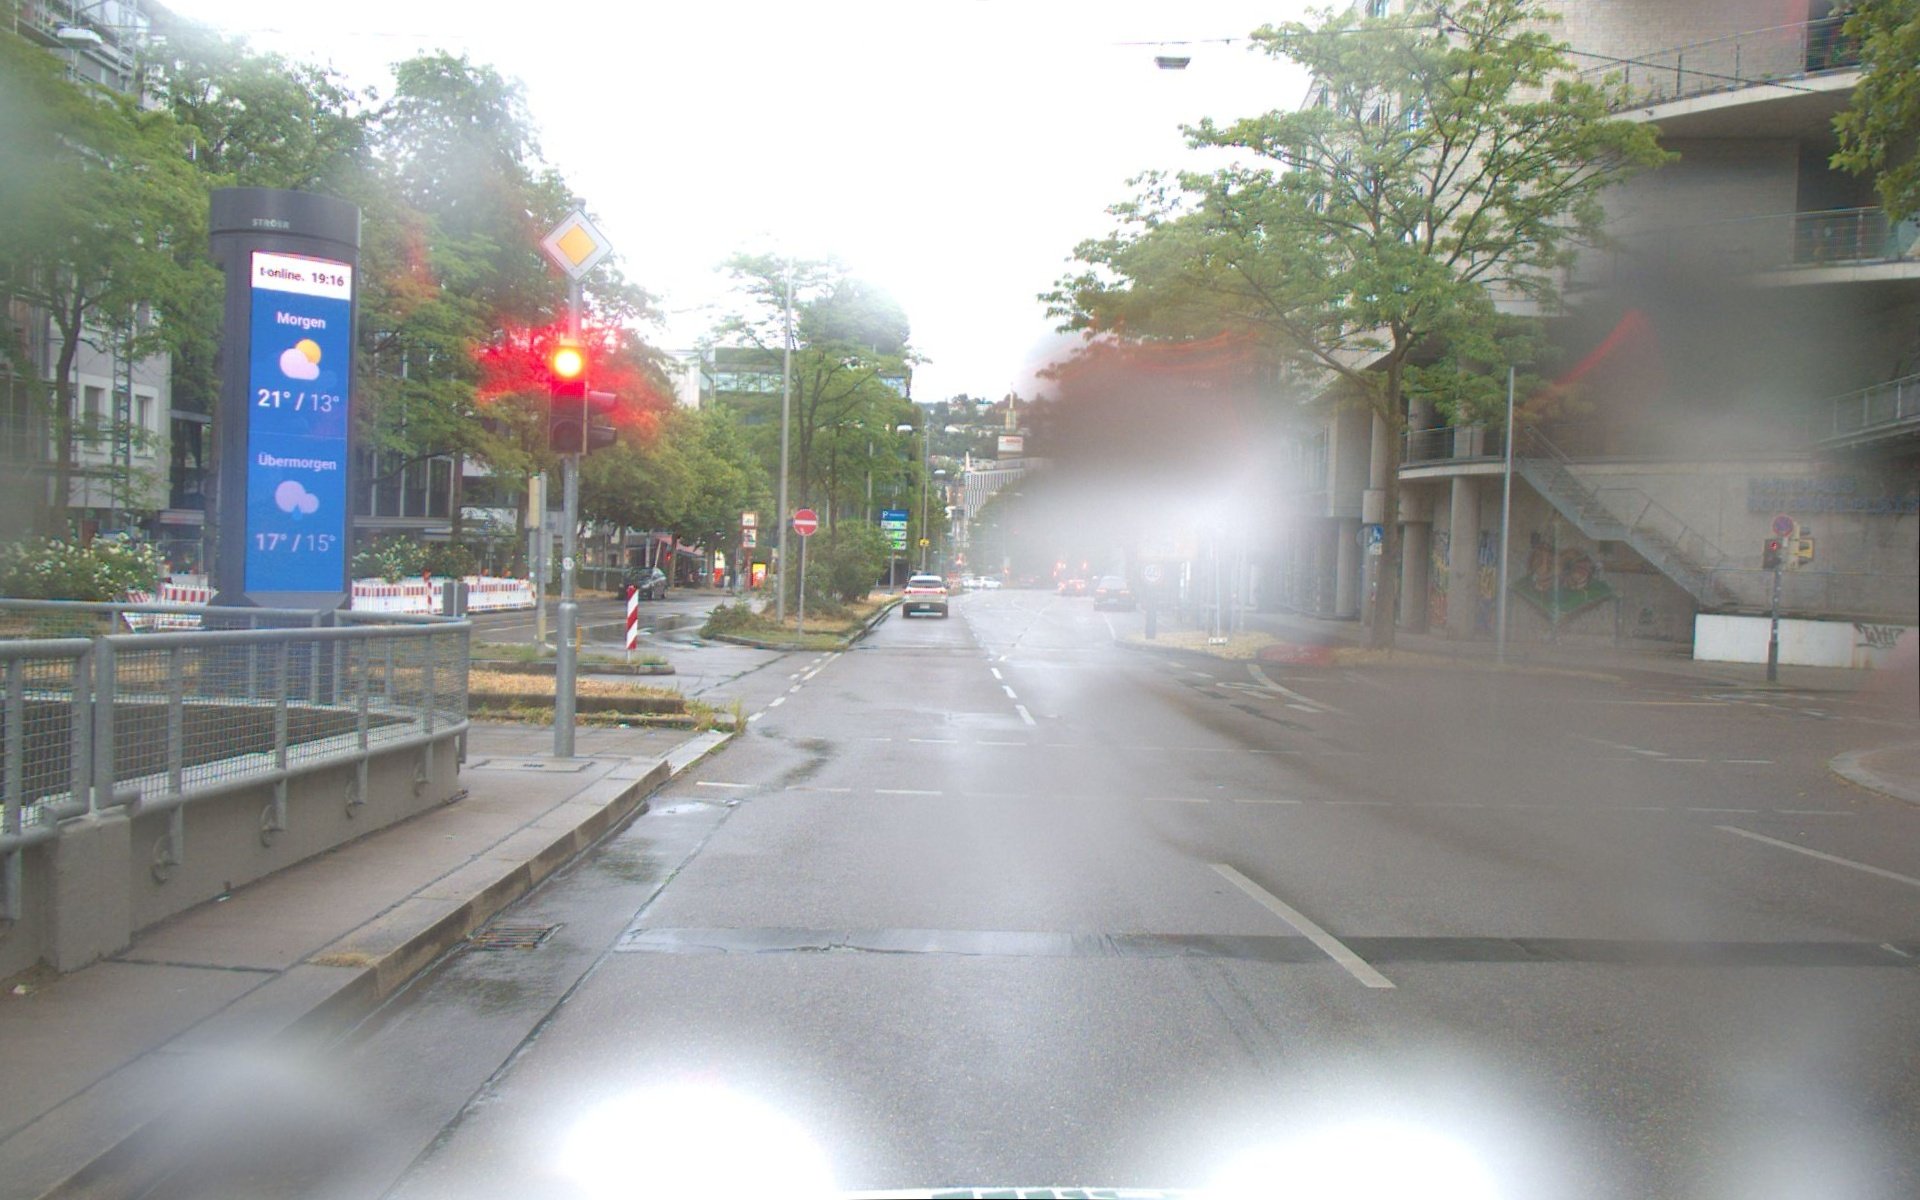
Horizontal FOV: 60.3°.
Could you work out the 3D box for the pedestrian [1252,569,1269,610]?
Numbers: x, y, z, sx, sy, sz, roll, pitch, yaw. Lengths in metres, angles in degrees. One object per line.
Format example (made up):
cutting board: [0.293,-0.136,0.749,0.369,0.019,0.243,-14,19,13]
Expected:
pedestrian: [14.595,-0.502,80.320,0.759,1.954,0.703,1,-1,9]

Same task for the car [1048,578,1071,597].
car: [10.040,-1.239,166.961,1.953,1.766,3.999,1,0,-1]

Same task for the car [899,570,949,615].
car: [-1.477,-0.297,66.459,1.792,1.668,4.297,2,0,-4]

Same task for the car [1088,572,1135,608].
car: [7.674,-0.507,83.538,2.288,1.720,4.003,1,1,6]

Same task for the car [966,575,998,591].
car: [2.601,-1.975,194.142,1.956,1.789,3.993,2,0,29]

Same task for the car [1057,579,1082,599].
car: [10.331,-1.008,155.717,1.953,1.754,3.999,1,0,-2]
